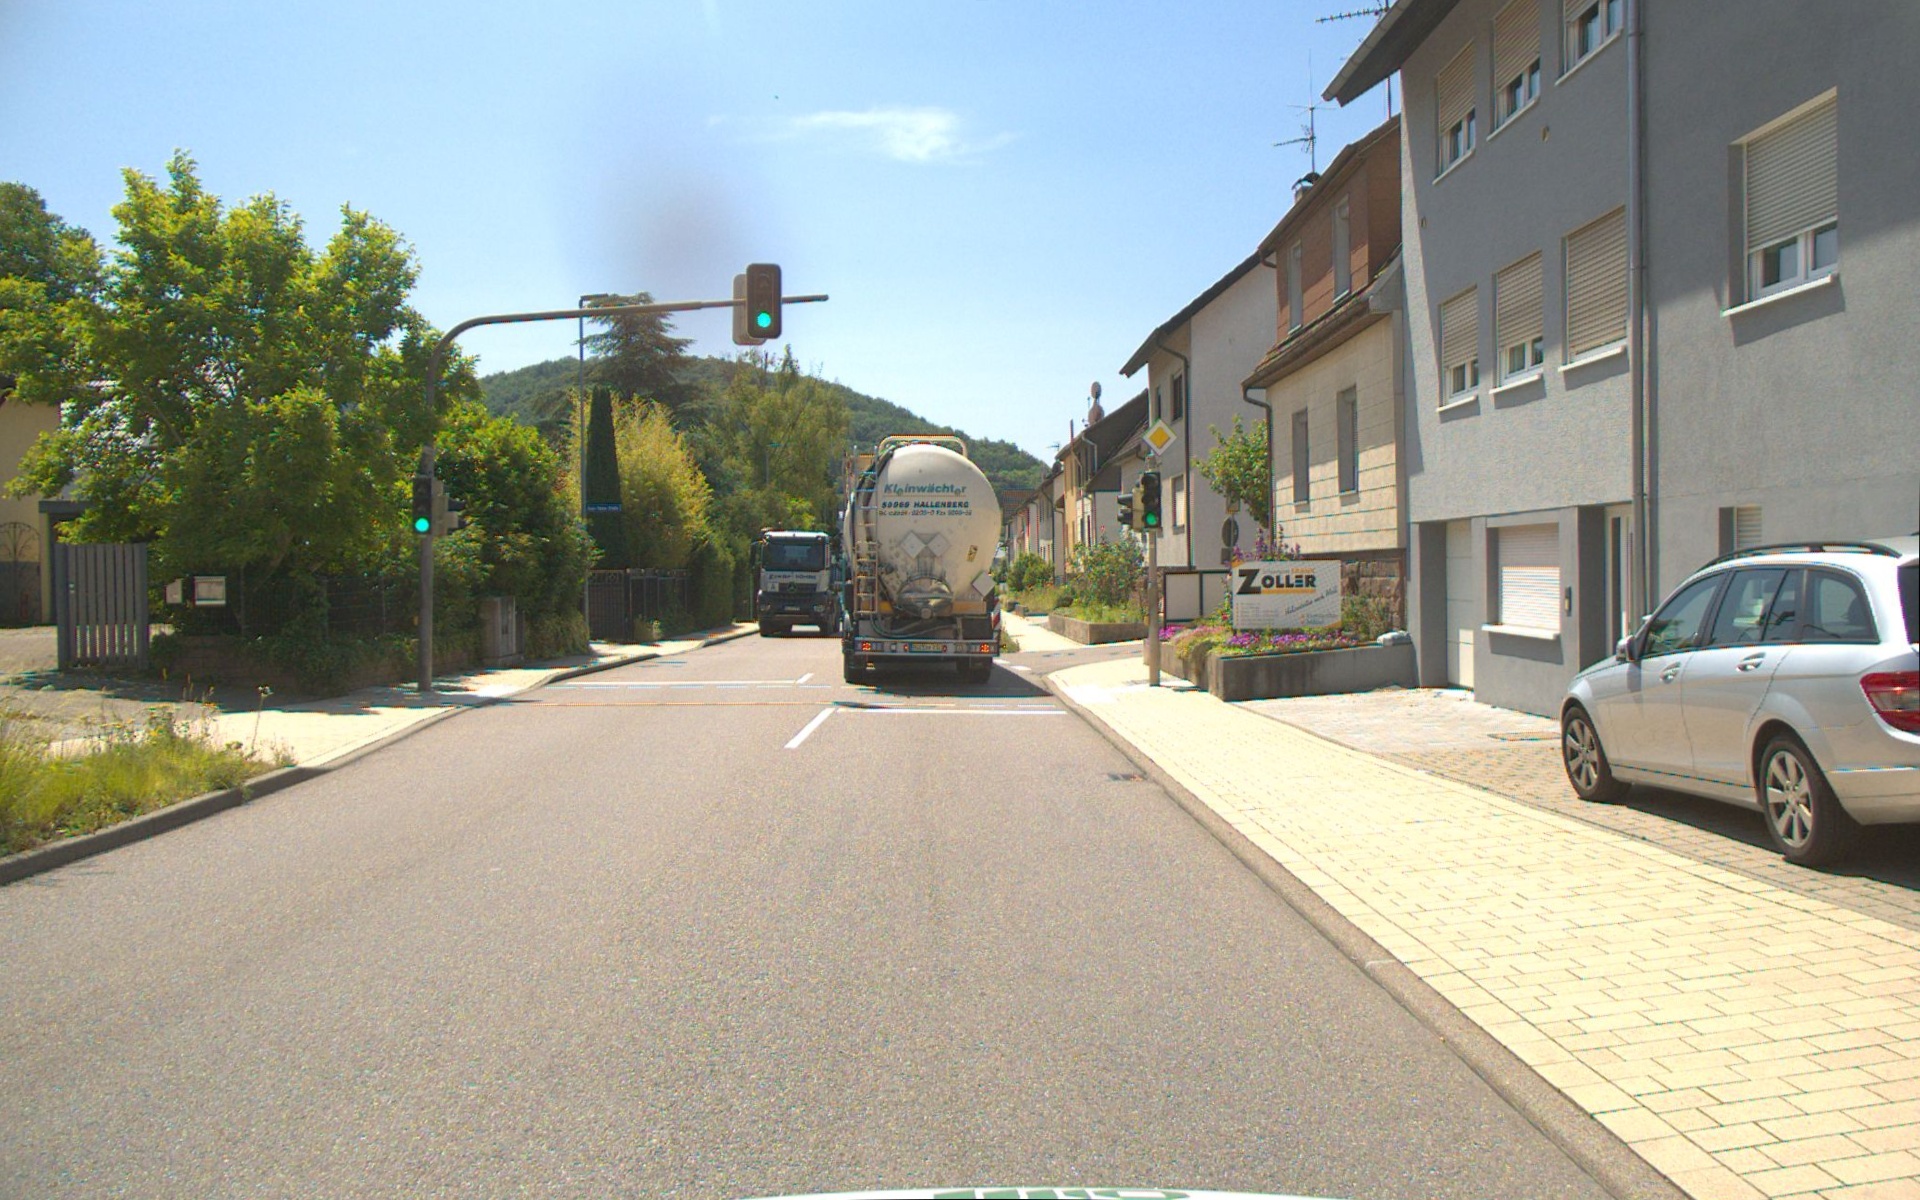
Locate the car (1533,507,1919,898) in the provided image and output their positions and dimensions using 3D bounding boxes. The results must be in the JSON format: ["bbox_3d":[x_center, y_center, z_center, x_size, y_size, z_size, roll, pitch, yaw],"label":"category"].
[{"bbox_3d":[4.722,0.338,8.777,1.754,1.568,4.520,-5,0,1],"label":"car"}]

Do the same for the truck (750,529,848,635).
[{"bbox_3d":[-5.565,-0.599,58.466,2.673,3.430,8.633,1,0,-1],"label":"truck"}]

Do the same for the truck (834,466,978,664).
[{"bbox_3d":[-1.322,-0.719,36.765,2.754,4.006,6.091,1,0,-6],"label":"truck"}]

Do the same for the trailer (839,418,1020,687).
[{"bbox_3d":[-0.806,-0.733,30.312,2.741,4.071,10.315,0,0,-4],"label":"trailer"}]
